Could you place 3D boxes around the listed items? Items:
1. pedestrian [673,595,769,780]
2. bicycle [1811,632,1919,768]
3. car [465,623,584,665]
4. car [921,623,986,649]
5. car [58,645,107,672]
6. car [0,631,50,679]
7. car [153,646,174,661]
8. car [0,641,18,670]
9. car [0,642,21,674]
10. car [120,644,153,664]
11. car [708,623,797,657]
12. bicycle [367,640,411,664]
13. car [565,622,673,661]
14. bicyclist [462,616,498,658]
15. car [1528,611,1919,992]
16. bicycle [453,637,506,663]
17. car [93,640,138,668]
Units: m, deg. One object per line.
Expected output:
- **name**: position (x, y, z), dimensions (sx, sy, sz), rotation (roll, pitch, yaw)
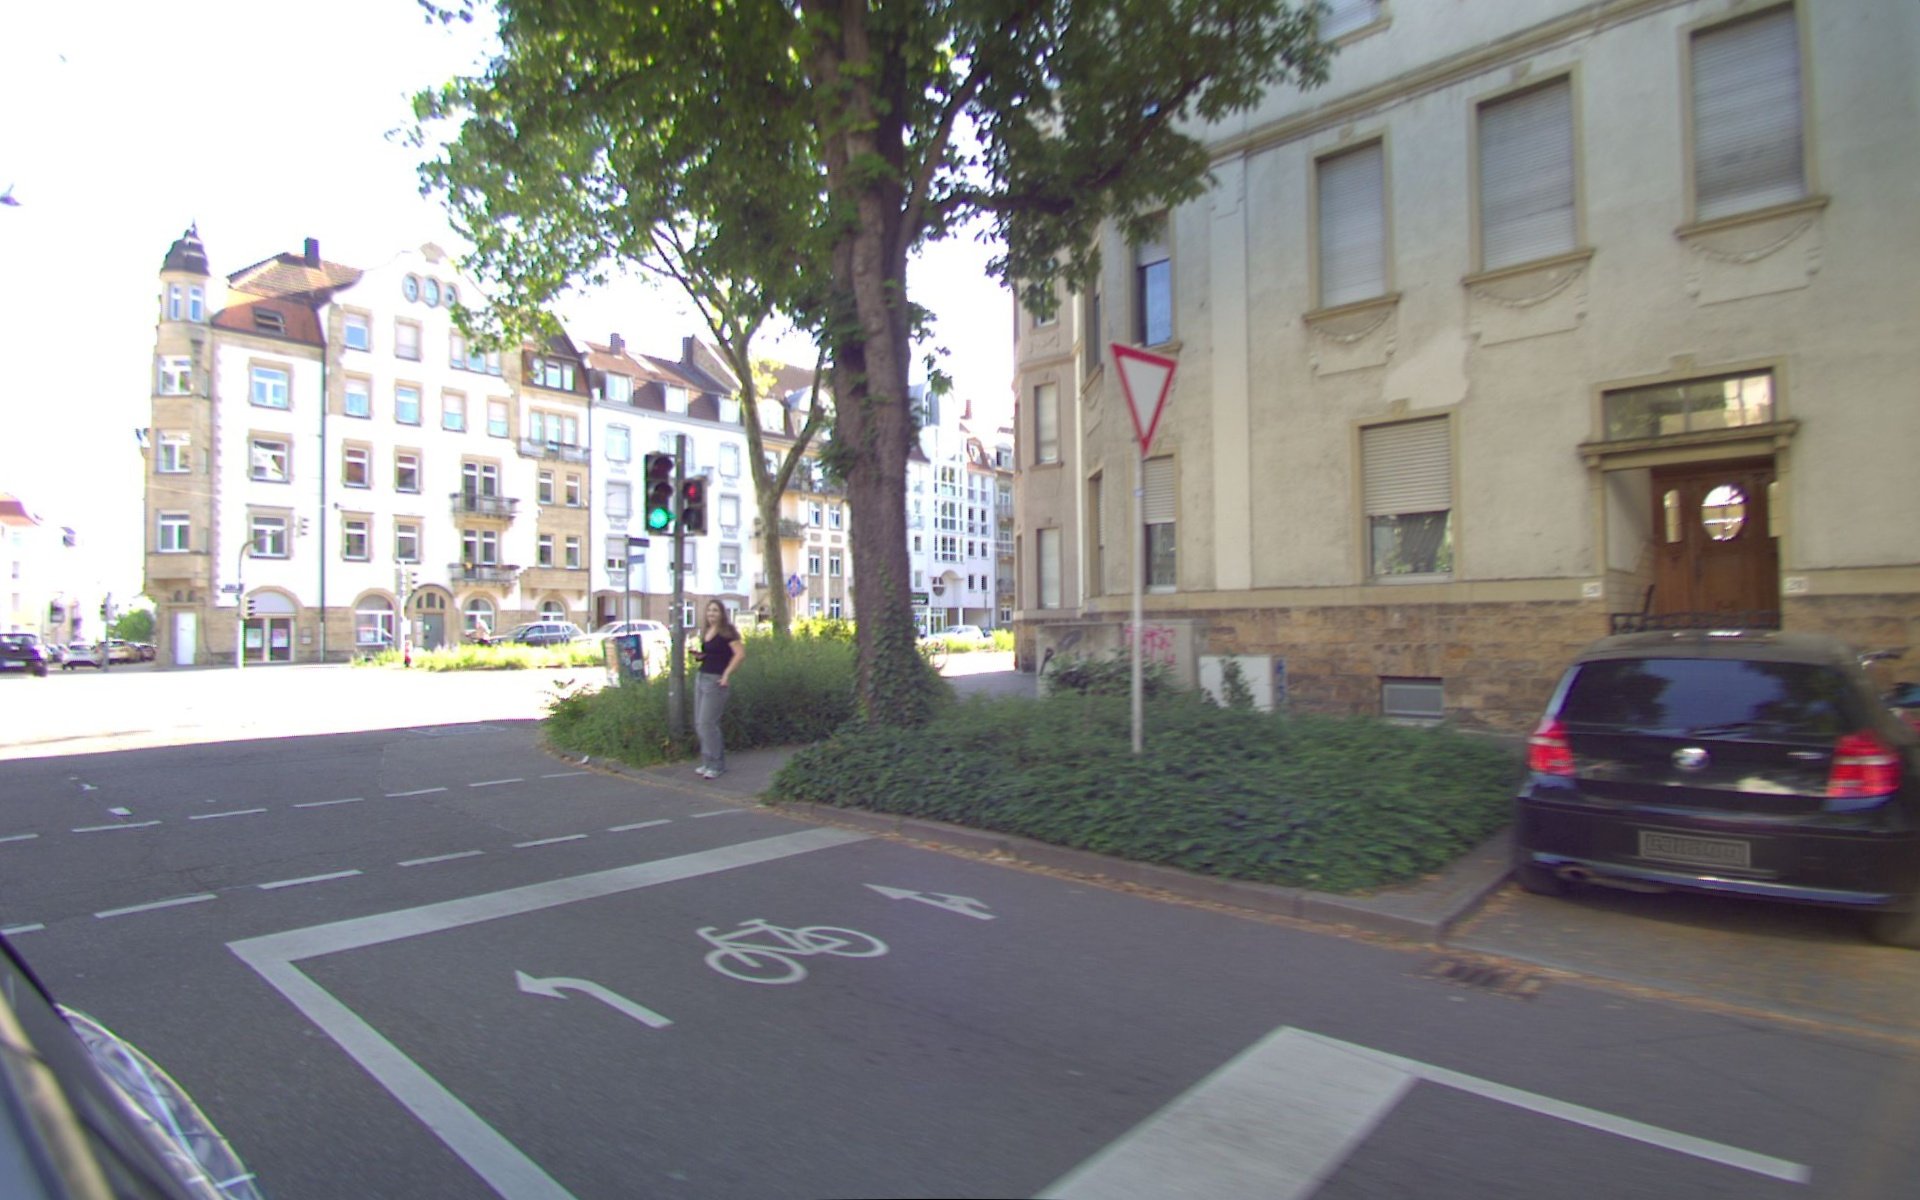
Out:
- **pedestrian**: position (-2.305, 0.810, 9.757), dimensions (0.684, 1.695, 0.681), rotation (1, -2, -37)
- **bicycle**: position (8.751, 0.867, 8.813), dimensions (1.982, 1.163, 0.508), rotation (-3, -1, 43)
- **car**: position (-18.248, 1.822, 42.536), dimensions (1.999, 1.657, 4.182), rotation (-4, -4, 41)
- **car**: position (-0.364, 2.247, 63.487), dimensions (1.818, 1.603, 4.189), rotation (-2, -2, 40)
- **car**: position (-48.538, 3.230, 56.025), dimensions (1.531, 1.422, 3.580), rotation (3, -4, -34)
- **car**: position (-30.577, 1.741, 32.539), dimensions (3.809, 1.475, 1.642), rotation (-2, -2, 44)
- **car**: position (-99.050, 6.651, 125.921), dimensions (1.888, 1.636, 4.356), rotation (-4, 0, -37)
- **car**: position (-72.058, 4.210, 75.700), dimensions (1.804, 2.050, 3.828), rotation (-2, -2, -36)
- **car**: position (-45.514, 2.741, 47.562), dimensions (4.001, 1.469, 1.786), rotation (-3, -3, 44)
- **car**: position (-72.519, 4.763, 89.145), dimensions (1.887, 1.529, 4.357), rotation (-4, 0, -35)
- **car**: position (-9.741, 1.875, 47.649), dimensions (1.764, 1.541, 3.844), rotation (-2, -3, 40)
- **bicycle**: position (-27.987, 2.533, 49.661), dimensions (0.610, 1.142, 1.786), rotation (-3, -3, 40)
- **car**: position (-14.322, 1.735, 42.616), dimensions (1.765, 1.541, 3.964), rotation (-3, -3, 41)
- **bicyclist**: position (-18.148, 1.389, 38.271), dimensions (0.687, 1.554, 1.060), rotation (-2, -3, 41)
- **car**: position (4.636, 0.854, 5.770), dimensions (1.615, 1.487, 3.840), rotation (-2, -3, 42)
- **bicycle**: position (-18.151, 1.895, 38.242), dimensions (0.794, 0.932, 1.614), rotation (-3, -3, 41)
- **car**: position (-57.049, 3.643, 68.400), dimensions (1.887, 1.671, 4.357), rotation (-4, 0, -35)
